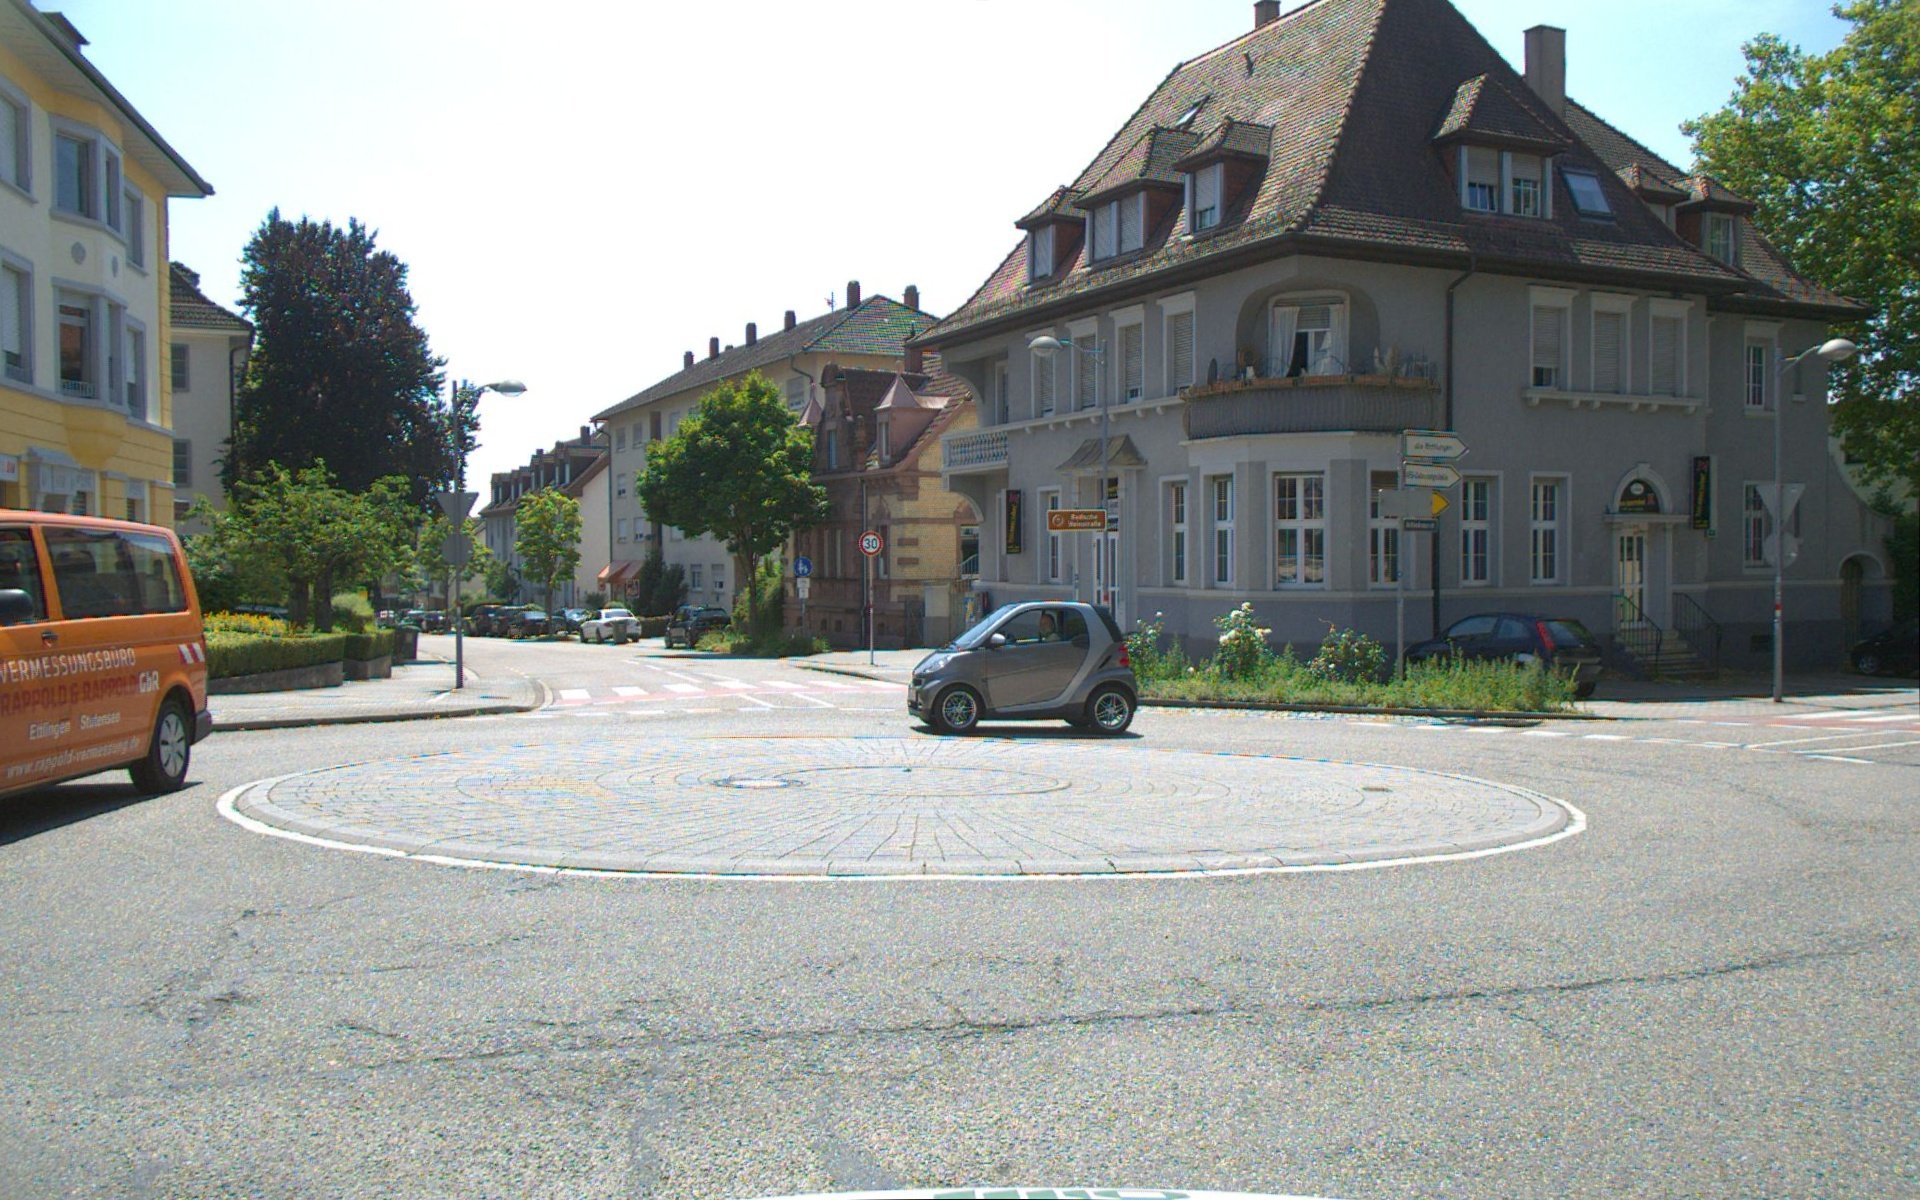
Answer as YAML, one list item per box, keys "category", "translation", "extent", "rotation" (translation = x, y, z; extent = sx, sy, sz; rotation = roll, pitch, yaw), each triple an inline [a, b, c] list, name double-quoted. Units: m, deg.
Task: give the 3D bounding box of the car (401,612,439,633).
- category: "car"
  translation: [-39.495, 1.628, 120.928]
  extent: [1.970, 1.535, 4.379]
  rotation: [0, 0, -27]

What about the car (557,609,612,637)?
- category: "car"
  translation: [-21.038, 1.288, 92.633]
  extent: [1.970, 1.535, 4.379]
  rotation: [0, 0, -27]

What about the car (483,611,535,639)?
- category: "car"
  translation: [-25.320, 1.381, 92.783]
  extent: [1.970, 1.535, 4.379]
  rotation: [0, 0, -27]

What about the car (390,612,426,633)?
- category: "car"
  translation: [-42.135, 1.715, 126.147]
  extent: [1.970, 1.535, 4.379]
  rotation: [0, 0, -27]

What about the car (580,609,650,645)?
- category: "car"
  translation: [-15.485, 1.181, 74.026]
  extent: [1.970, 1.535, 4.379]
  rotation: [0, 0, -27]

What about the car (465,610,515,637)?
- category: "car"
  translation: [-27.689, 1.390, 97.366]
  extent: [1.970, 1.535, 4.379]
  rotation: [0, 0, -27]

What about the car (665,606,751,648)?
- category: "car"
  translation: [-9.683, 1.008, 63.393]
  extent: [1.970, 1.535, 4.379]
  rotation: [0, 0, -27]

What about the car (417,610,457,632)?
- category: "car"
  translation: [-36.594, 1.447, 115.733]
  extent: [1.970, 1.535, 4.379]
  rotation: [0, 0, -27]

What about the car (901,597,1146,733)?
- category: "car"
  translation: [0.727, 0.759, 19.990]
  extent: [2.728, 1.557, 1.567]
  rotation: [0, 0, -9]

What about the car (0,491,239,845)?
- category: "car"
  translation: [-6.432, 0.364, 10.336]
  extent: [1.905, 1.993, 5.018]
  rotation: [0, 1, -4]

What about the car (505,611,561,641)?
- category: "car"
  translation: [-22.603, 1.369, 87.386]
  extent: [1.970, 1.535, 4.379]
  rotation: [0, 0, -27]

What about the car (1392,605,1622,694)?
- category: "car"
  translation: [9.753, 0.837, 29.717]
  extent: [1.701, 1.486, 3.752]
  rotation: [0, 0, -31]

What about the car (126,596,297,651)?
- category: "car"
  translation: [-22.078, 0.677, 48.849]
  extent: [4.365, 1.535, 1.976]
  rotation: [0, -1, -34]

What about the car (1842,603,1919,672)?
- category: "car"
  translation: [22.656, 0.864, 38.519]
  extent: [1.701, 1.574, 3.356]
  rotation: [0, 0, -31]
